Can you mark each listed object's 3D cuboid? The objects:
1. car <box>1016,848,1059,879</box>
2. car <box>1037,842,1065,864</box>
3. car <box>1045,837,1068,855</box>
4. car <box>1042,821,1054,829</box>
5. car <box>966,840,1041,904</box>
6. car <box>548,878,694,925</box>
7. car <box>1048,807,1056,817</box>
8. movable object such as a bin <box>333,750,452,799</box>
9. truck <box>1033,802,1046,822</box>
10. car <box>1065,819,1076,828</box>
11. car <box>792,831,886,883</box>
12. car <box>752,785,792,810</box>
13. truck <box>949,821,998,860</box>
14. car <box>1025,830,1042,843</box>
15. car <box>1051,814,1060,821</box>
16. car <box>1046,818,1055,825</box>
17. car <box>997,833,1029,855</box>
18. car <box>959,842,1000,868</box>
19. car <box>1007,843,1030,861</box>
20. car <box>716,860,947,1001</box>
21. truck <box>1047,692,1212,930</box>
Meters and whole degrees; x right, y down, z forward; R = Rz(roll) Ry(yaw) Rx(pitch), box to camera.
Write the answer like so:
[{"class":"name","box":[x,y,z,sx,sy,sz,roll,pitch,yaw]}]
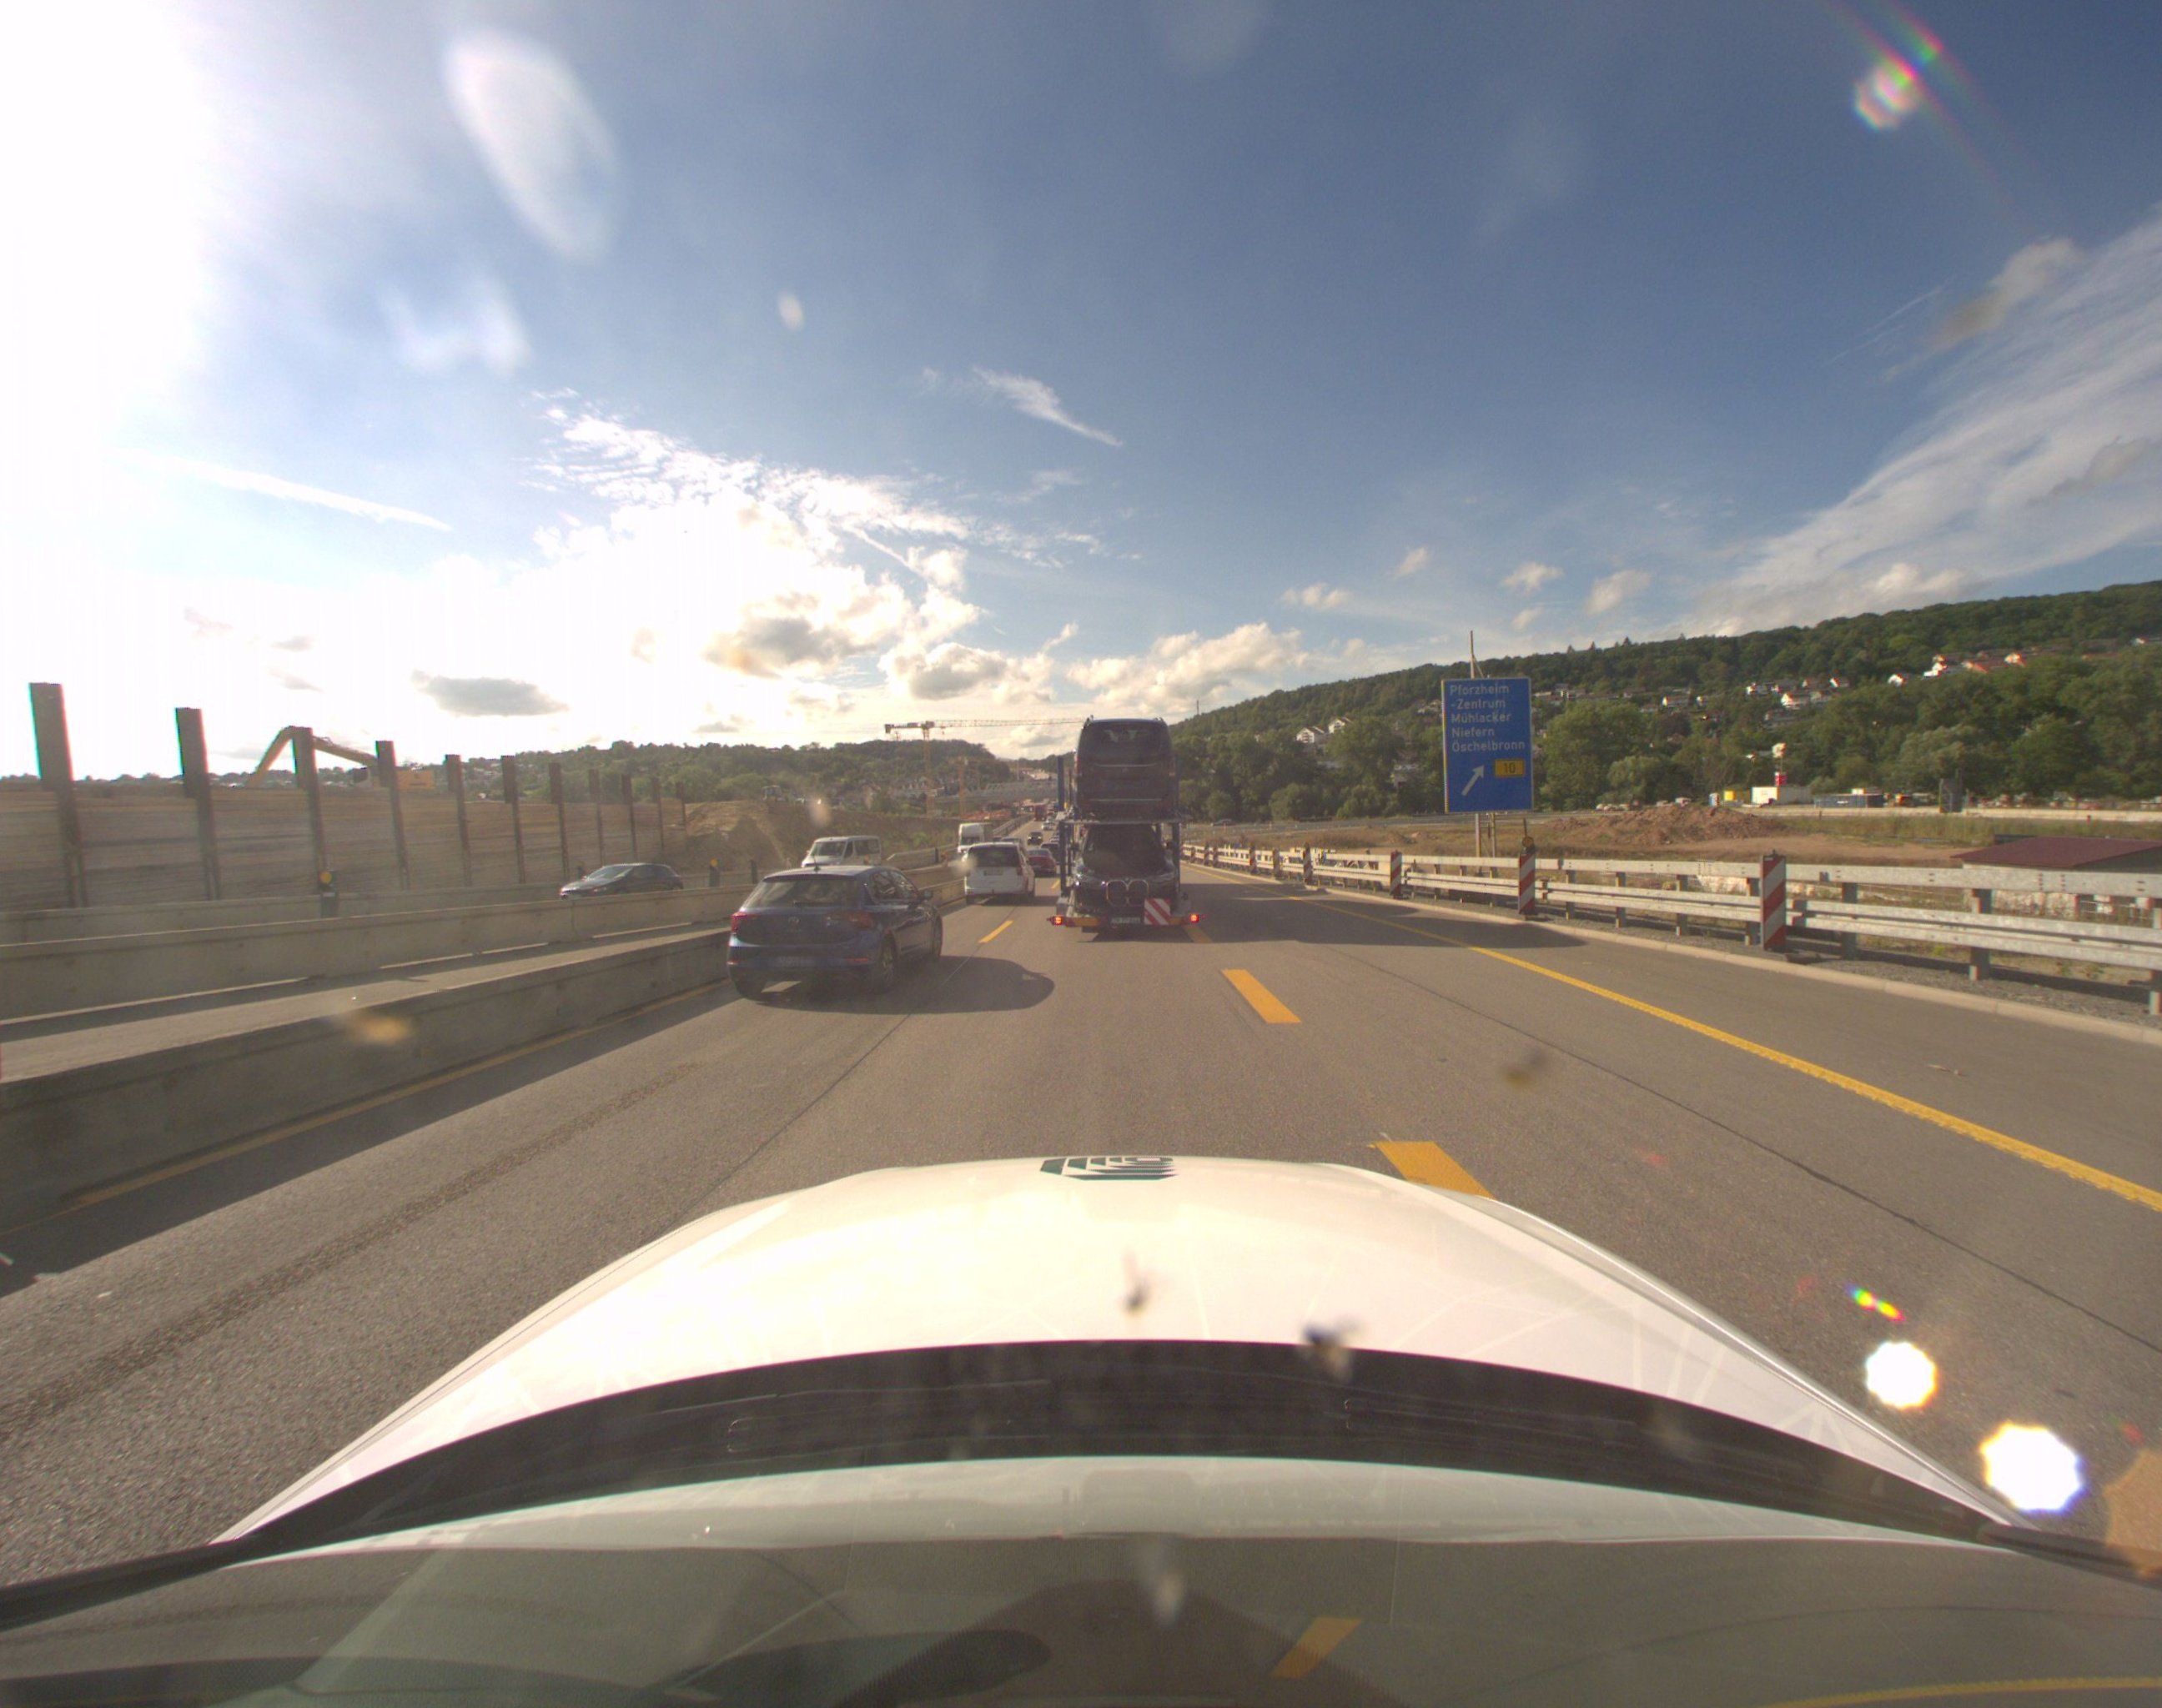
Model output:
[{"class":"car","box":[-2.267,0.495,43.223,1.987,1.556,4.400,-1,0,0]},{"class":"car","box":[-2.188,-0.036,59.589,1.989,1.552,3.996,-1,0,-3]},{"class":"car","box":[-2.267,-0.733,77.195,1.986,1.666,4.000,-1,0,1]},{"class":"car","box":[-6.135,-5.361,151.470,1.846,1.439,4.558,-1,1,0]},{"class":"car","box":[-2.324,0.531,25.269,1.816,1.792,4.001,-1,-1,1]},{"class":"car","box":[-14.580,1.464,26.098,1.908,1.273,4.011,-1,0,10]},{"class":"car","box":[-8.859,-12.767,247.835,1.986,2.879,6.065,-1,-1,1]},{"class":"movable object such as a bin","box":[-54.210,-6.187,64.282,5.708,3.270,4.525,-1,-1,12]},{"class":"truck","box":[-9.943,-9.978,194.144,2.907,4.386,6.281,0,1,-2]},{"class":"car","box":[-1.996,-5.556,148.614,1.840,1.648,4.501,-1,1,-2]},{"class":"car","box":[-12.123,0.153,41.363,2.245,2.402,5.881,-1,-1,9]},{"class":"car","box":[-33.125,-6.036,87.462,1.987,2.140,5.320,-6,0,0]},{"class":"truck","box":[-9.683,-1.152,74.073,2.687,3.311,7.549,-1,-1,6]},{"class":"car","box":[-6.173,-2.252,106.676,1.846,1.635,4.748,-1,1,0]},{"class":"car","box":[-5.954,-8.747,193.247,1.815,1.439,4.615,-1,1,1]},{"class":"car","box":[-6.468,-6.861,172.839,1.748,1.439,3.804,-1,1,0]},{"class":"car","box":[-5.909,-0.881,71.450,2.117,1.765,5.034,-1,1,2]},{"class":"car","box":[-6.981,0.065,56.364,2.117,1.674,4.275,-1,1,2]},{"class":"car","box":[-6.830,-0.206,89.029,1.986,1.804,4.446,-1,0,2]},{"class":"car","box":[-2.914,0.838,10.429,1.716,1.422,3.999,-1,-1,0]},{"class":"truck","box":[0.995,-0.680,22.958,2.743,3.954,18.892,0,0,1]}]
